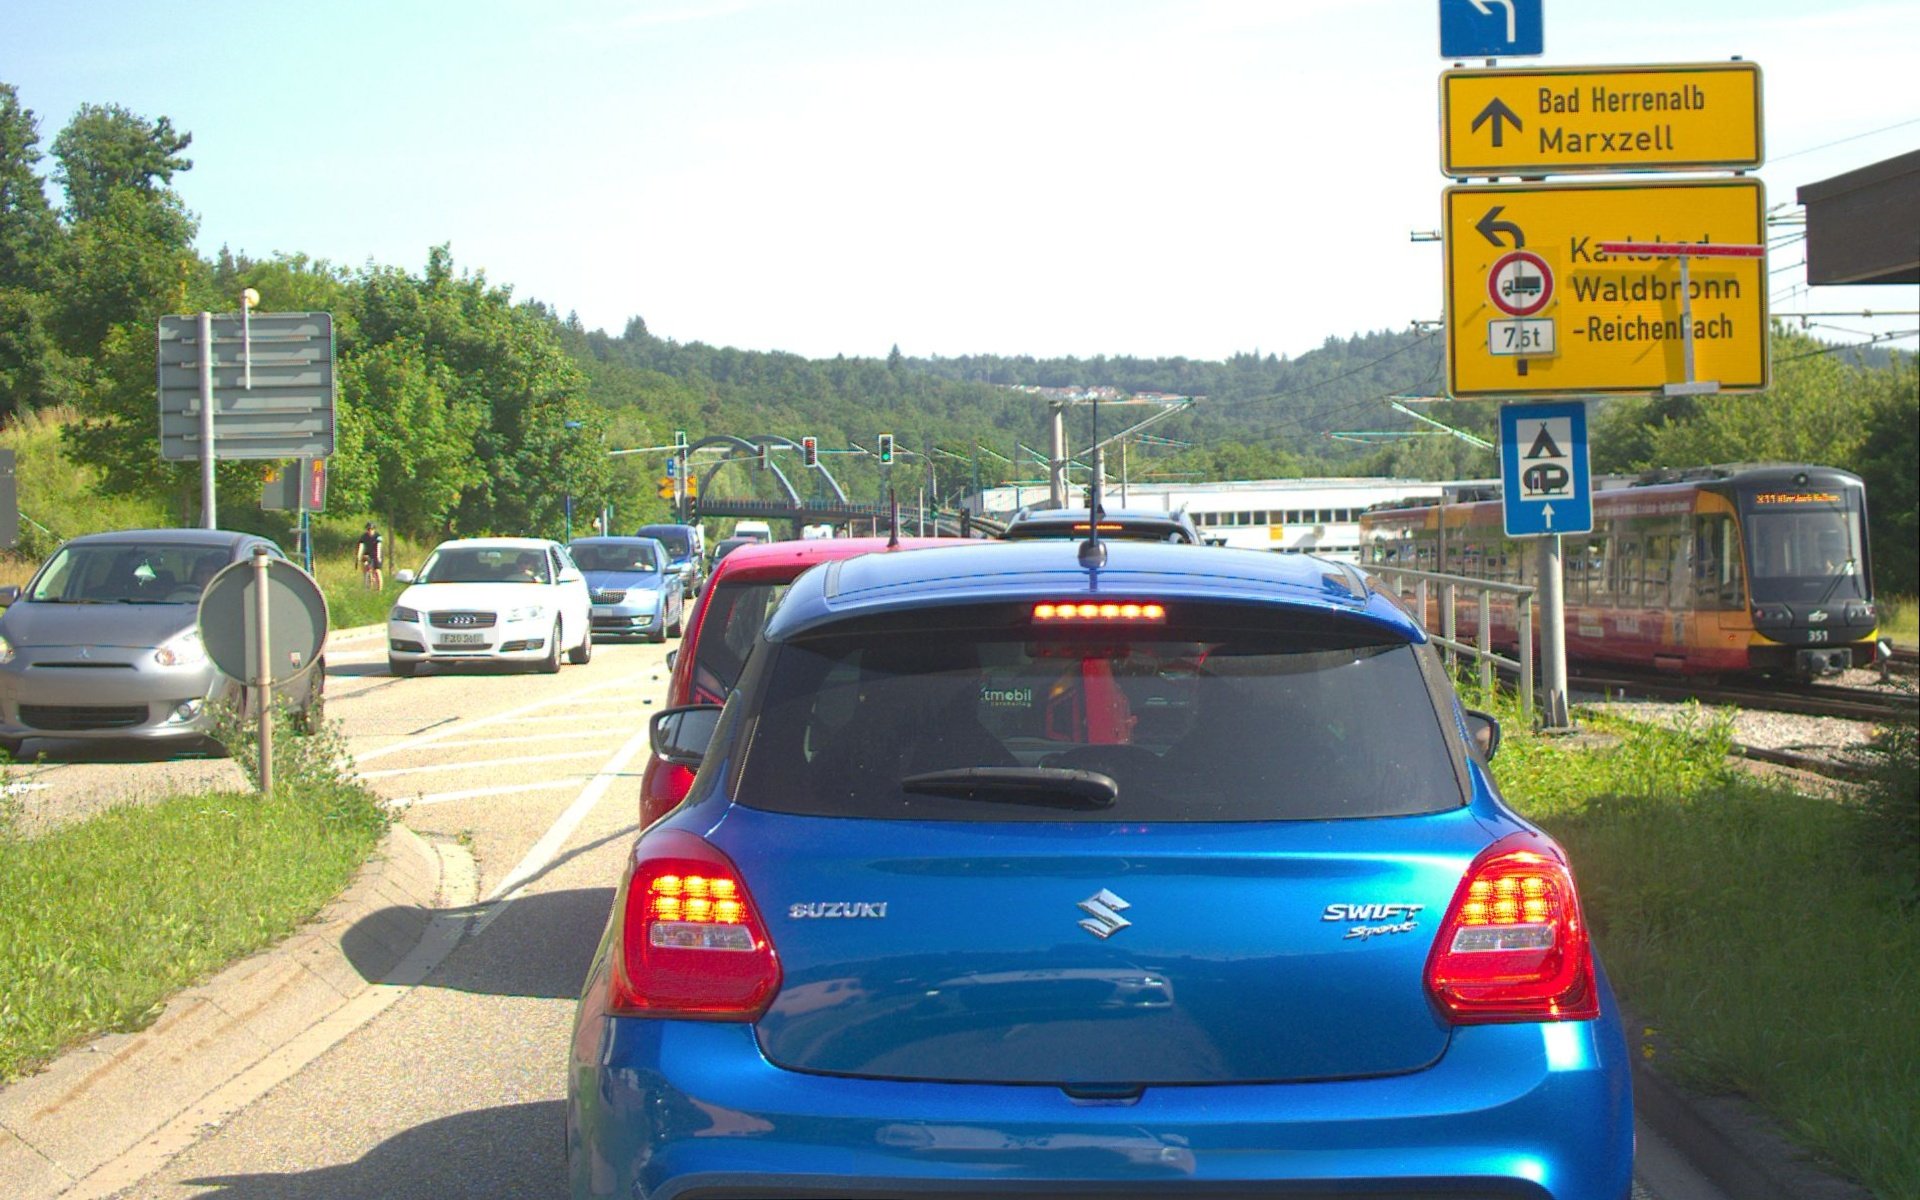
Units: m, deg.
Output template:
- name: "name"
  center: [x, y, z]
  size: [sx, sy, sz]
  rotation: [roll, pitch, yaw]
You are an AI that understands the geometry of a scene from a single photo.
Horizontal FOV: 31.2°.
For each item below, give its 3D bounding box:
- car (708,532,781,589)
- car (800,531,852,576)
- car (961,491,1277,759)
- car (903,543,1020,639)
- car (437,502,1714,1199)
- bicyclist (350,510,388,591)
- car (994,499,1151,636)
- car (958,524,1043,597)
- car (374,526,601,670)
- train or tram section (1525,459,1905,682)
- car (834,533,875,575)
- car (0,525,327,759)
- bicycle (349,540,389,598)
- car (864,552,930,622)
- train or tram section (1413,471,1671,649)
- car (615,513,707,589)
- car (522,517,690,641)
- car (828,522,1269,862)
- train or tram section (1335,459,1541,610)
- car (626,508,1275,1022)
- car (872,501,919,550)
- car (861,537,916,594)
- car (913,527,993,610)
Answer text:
- name: "car"
  center: [-5.971, -1.117, 95.435]
  size: [1.832, 1.426, 3.811]
  rotation: [2, 2, -1]
- name: "car"
  center: [-5.456, -1.915, 140.103]
  size: [1.993, 1.777, 4.000]
  rotation: [1, 1, -1]
- name: "car"
  center: [1.069, 0.107, 24.539]
  size: [1.993, 1.681, 4.497]
  rotation: [2, 1, 1]
- name: "car"
  center: [0.056, -0.178, 57.450]
  size: [1.832, 1.426, 3.811]
  rotation: [2, 2, 1]
- name: "car"
  center: [0.124, 0.589, 7.048]
  size: [1.868, 1.543, 4.000]
  rotation: [0, 1, -1]
- name: "bicyclist"
  center: [-11.251, -0.946, 65.459]
  size: [0.629, 1.502, 0.506]
  rotation: [2, 2, -3]
- name: "car"
  center: [1.496, -0.469, 46.695]
  size: [1.993, 1.730, 4.000]
  rotation: [2, 1, 1]
- name: "car"
  center: [0.933, -0.902, 77.271]
  size: [1.832, 1.488, 3.811]
  rotation: [2, 2, 1]
- name: "car"
  center: [-5.023, -0.062, 37.001]
  size: [1.832, 1.364, 3.950]
  rotation: [1, 2, 1]
- name: "train or tram section"
  center: [12.612, -0.589, 59.227]
  size: [2.855, 3.353, 14.356]
  rotation: [0, 1, -2]
- name: "car"
  center: [-5.493, -2.420, 178.674]
  size: [1.993, 2.006, 4.001]
  rotation: [2, 2, -1]
- name: "car"
  center: [-5.505, 0.227, 23.260]
  size: [1.672, 1.436, 3.840]
  rotation: [1, 1, 1]
- name: "bicycle"
  center: [-11.262, -0.589, 65.532]
  size: [0.566, 1.039, 1.552]
  rotation: [2, 2, -3]
- name: "car"
  center: [-1.991, -0.434, 108.918]
  size: [1.993, 2.006, 4.001]
  rotation: [2, 2, -1]
- name: "train or tram section"
  center: [12.015, -0.846, 72.248]
  size: [2.786, 3.353, 12.049]
  rotation: [1, 1, -3]
- name: "car"
  center: [-7.286, -1.208, 84.018]
  size: [1.832, 1.707, 3.811]
  rotation: [2, 2, 1]
- name: "car"
  center: [-4.848, -0.324, 47.559]
  size: [1.832, 1.463, 3.811]
  rotation: [2, 3, 1]
- name: "car"
  center: [0.442, 0.369, 17.985]
  size: [1.993, 1.526, 4.602]
  rotation: [-1, 1, 1]
- name: "train or tram section"
  center: [11.514, -1.629, 84.123]
  size: [2.755, 3.352, 12.050]
  rotation: [1, 1, -3]
- name: "car"
  center: [0.002, 0.481, 12.717]
  size: [1.993, 1.566, 4.000]
  rotation: [1, 1, 1]
- name: "car"
  center: [-2.853, -3.312, 152.378]
  size: [1.993, 2.006, 4.001]
  rotation: [2, 2, -1]
- name: "car"
  center: [-2.712, -1.345, 131.374]
  size: [1.993, 2.006, 4.001]
  rotation: [2, 2, -1]
- name: "car"
  center: [-0.200, -0.853, 90.886]
  size: [1.993, 2.006, 4.001]
  rotation: [2, 2, -1]
